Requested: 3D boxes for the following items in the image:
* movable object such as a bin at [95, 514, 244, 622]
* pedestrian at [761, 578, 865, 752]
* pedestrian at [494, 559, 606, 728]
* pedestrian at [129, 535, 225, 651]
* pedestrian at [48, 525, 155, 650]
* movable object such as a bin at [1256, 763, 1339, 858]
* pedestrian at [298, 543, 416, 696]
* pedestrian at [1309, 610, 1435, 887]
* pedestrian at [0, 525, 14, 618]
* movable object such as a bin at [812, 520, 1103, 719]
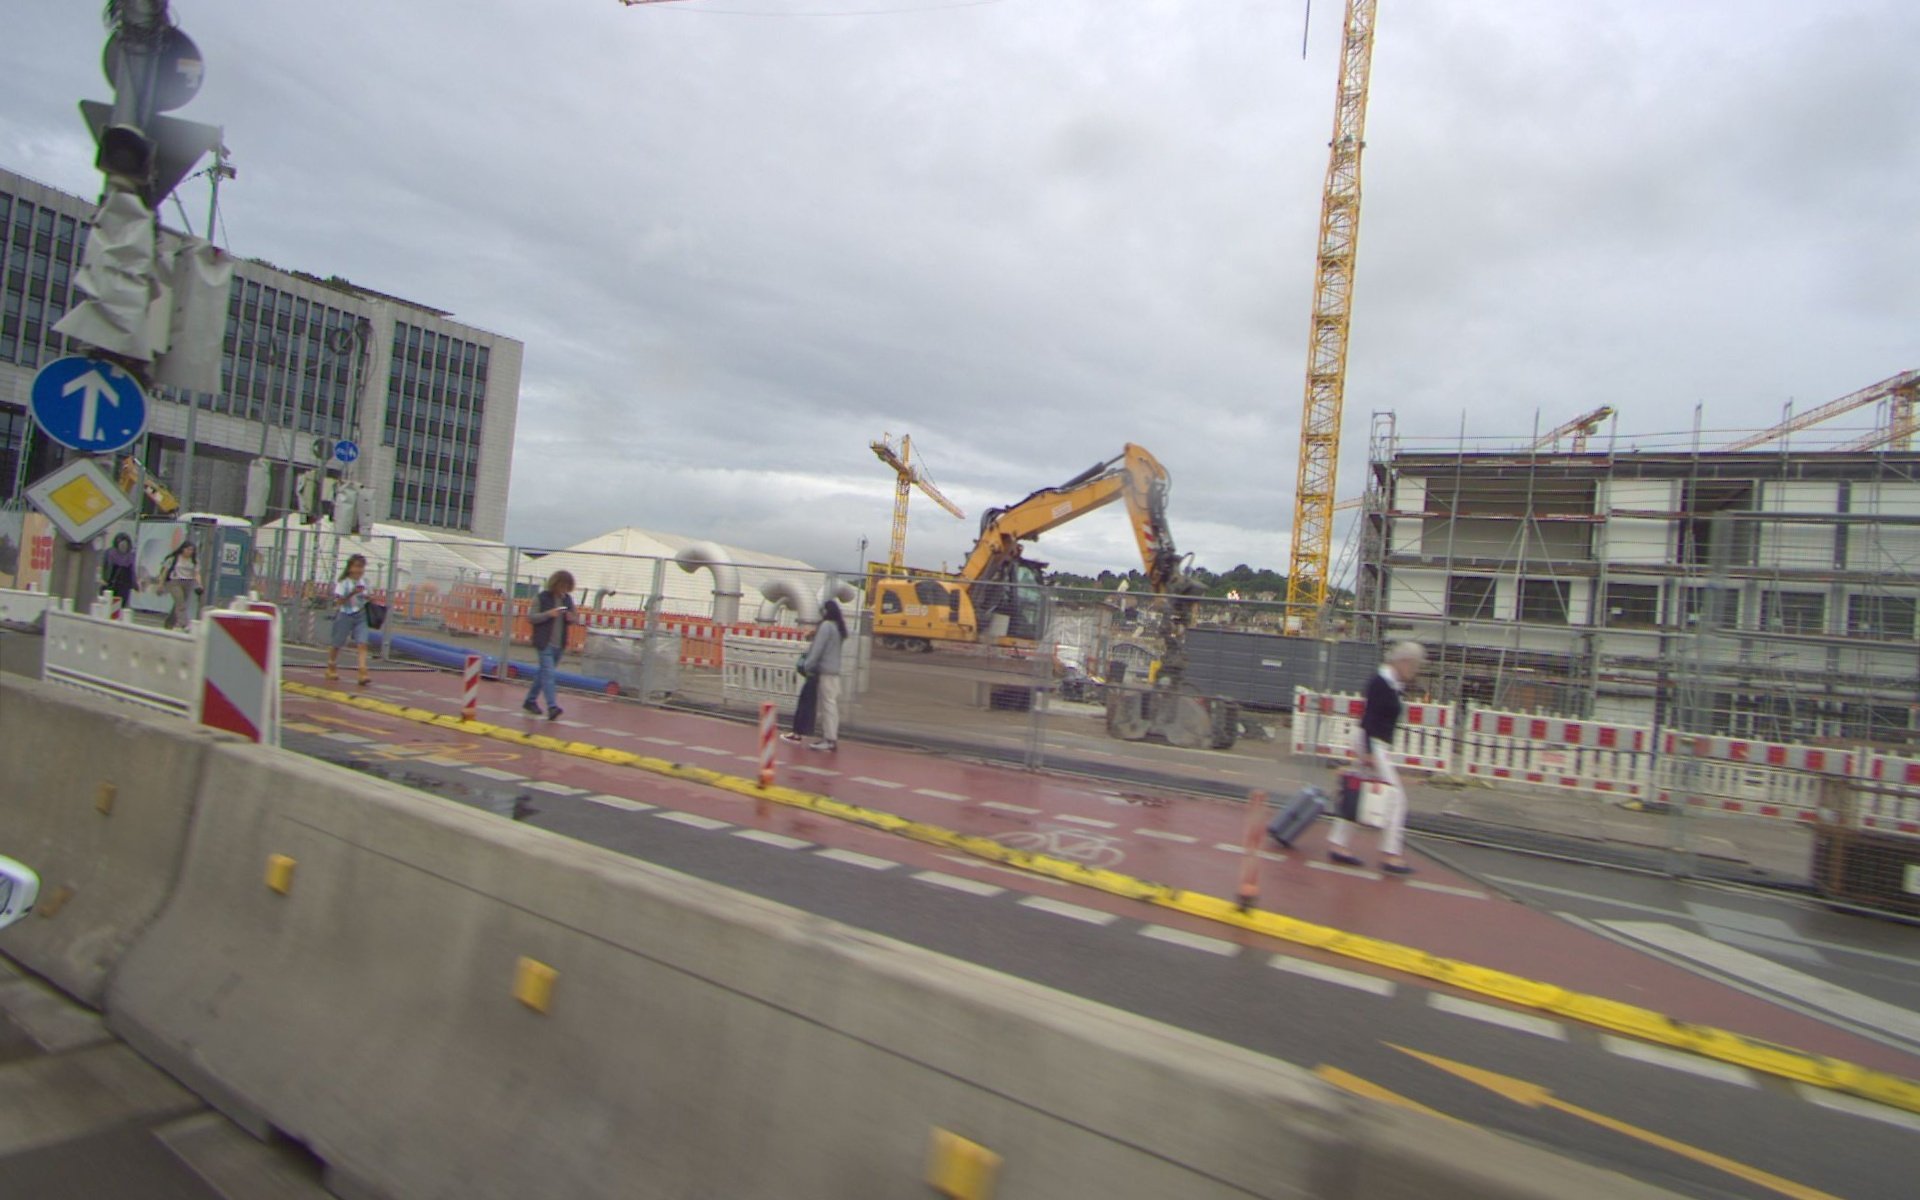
[{"bbox_3d":[-34.361,-1.322,43.847,3.626,4.075,3.102,5,-3,8],"label":"movable object such as a bin"},{"bbox_3d":[-1.677,0.747,11.542,0.671,1.883,0.789,5,-2,27],"label":"pedestrian"},{"bbox_3d":[-4.821,0.517,11.846,0.797,1.883,0.691,5,-2,27],"label":"pedestrian"},{"bbox_3d":[-13.619,-0.117,17.502,1.040,1.883,0.781,5,-2,27],"label":"pedestrian"},{"bbox_3d":[-13.929,-0.196,16.333,0.932,1.883,0.872,5,-2,27],"label":"pedestrian"},{"bbox_3d":[2.693,1.663,8.015,0.525,0.631,0.434,5,-2,27],"label":"movable object such as a bin"},{"bbox_3d":[-7.925,0.261,13.230,0.933,1.883,0.781,5,-2,27],"label":"pedestrian"},{"bbox_3d":[3.062,1.067,7.457,0.671,1.883,0.666,5,-2,27],"label":"pedestrian"},{"bbox_3d":[-20.109,-0.629,20.542,0.797,1.883,0.781,5,-2,27],"label":"pedestrian"},{"bbox_3d":[-0.068,0.432,20.891,4.301,3.533,3.919,4,-2,44],"label":"movable object such as a bin"}]
